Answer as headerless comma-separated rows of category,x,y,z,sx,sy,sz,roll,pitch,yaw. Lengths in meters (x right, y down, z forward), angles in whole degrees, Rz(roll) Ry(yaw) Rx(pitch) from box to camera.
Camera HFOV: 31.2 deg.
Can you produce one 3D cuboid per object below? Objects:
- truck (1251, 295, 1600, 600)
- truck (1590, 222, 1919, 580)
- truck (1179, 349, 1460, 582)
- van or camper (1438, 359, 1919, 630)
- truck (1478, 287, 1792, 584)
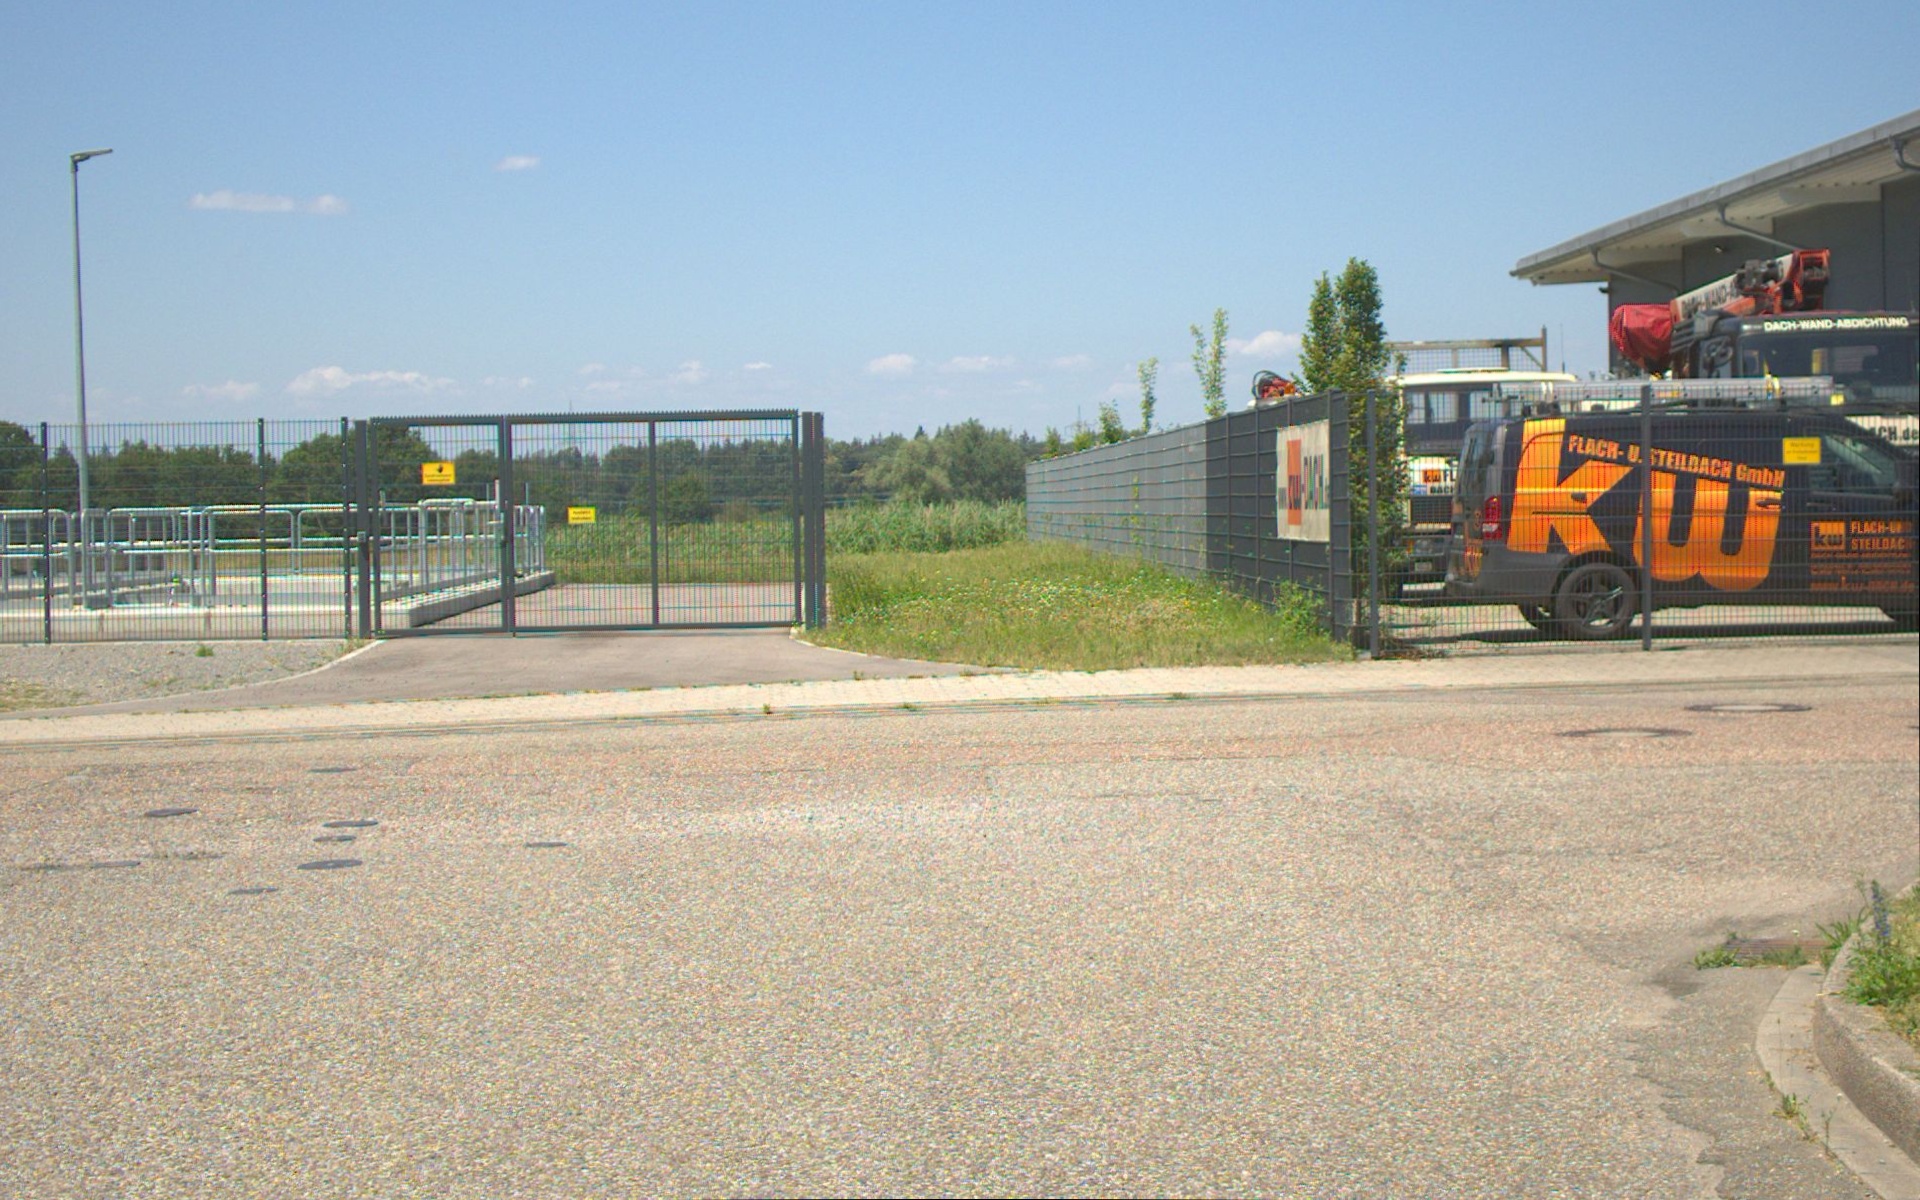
truck,5.048,-1.666,38.564,2.726,3.051,6.937,-1,2,-2
truck,9.858,-2.326,41.675,2.921,3.915,6.937,-1,2,-2
truck,4.852,-1.844,47.724,2.921,2.927,6.937,-1,2,-2
van or camper,6.746,-0.940,29.529,4.936,2.156,2.000,-1,3,-1
truck,9.609,-2.322,49.719,2.921,3.915,6.937,-1,2,-2
